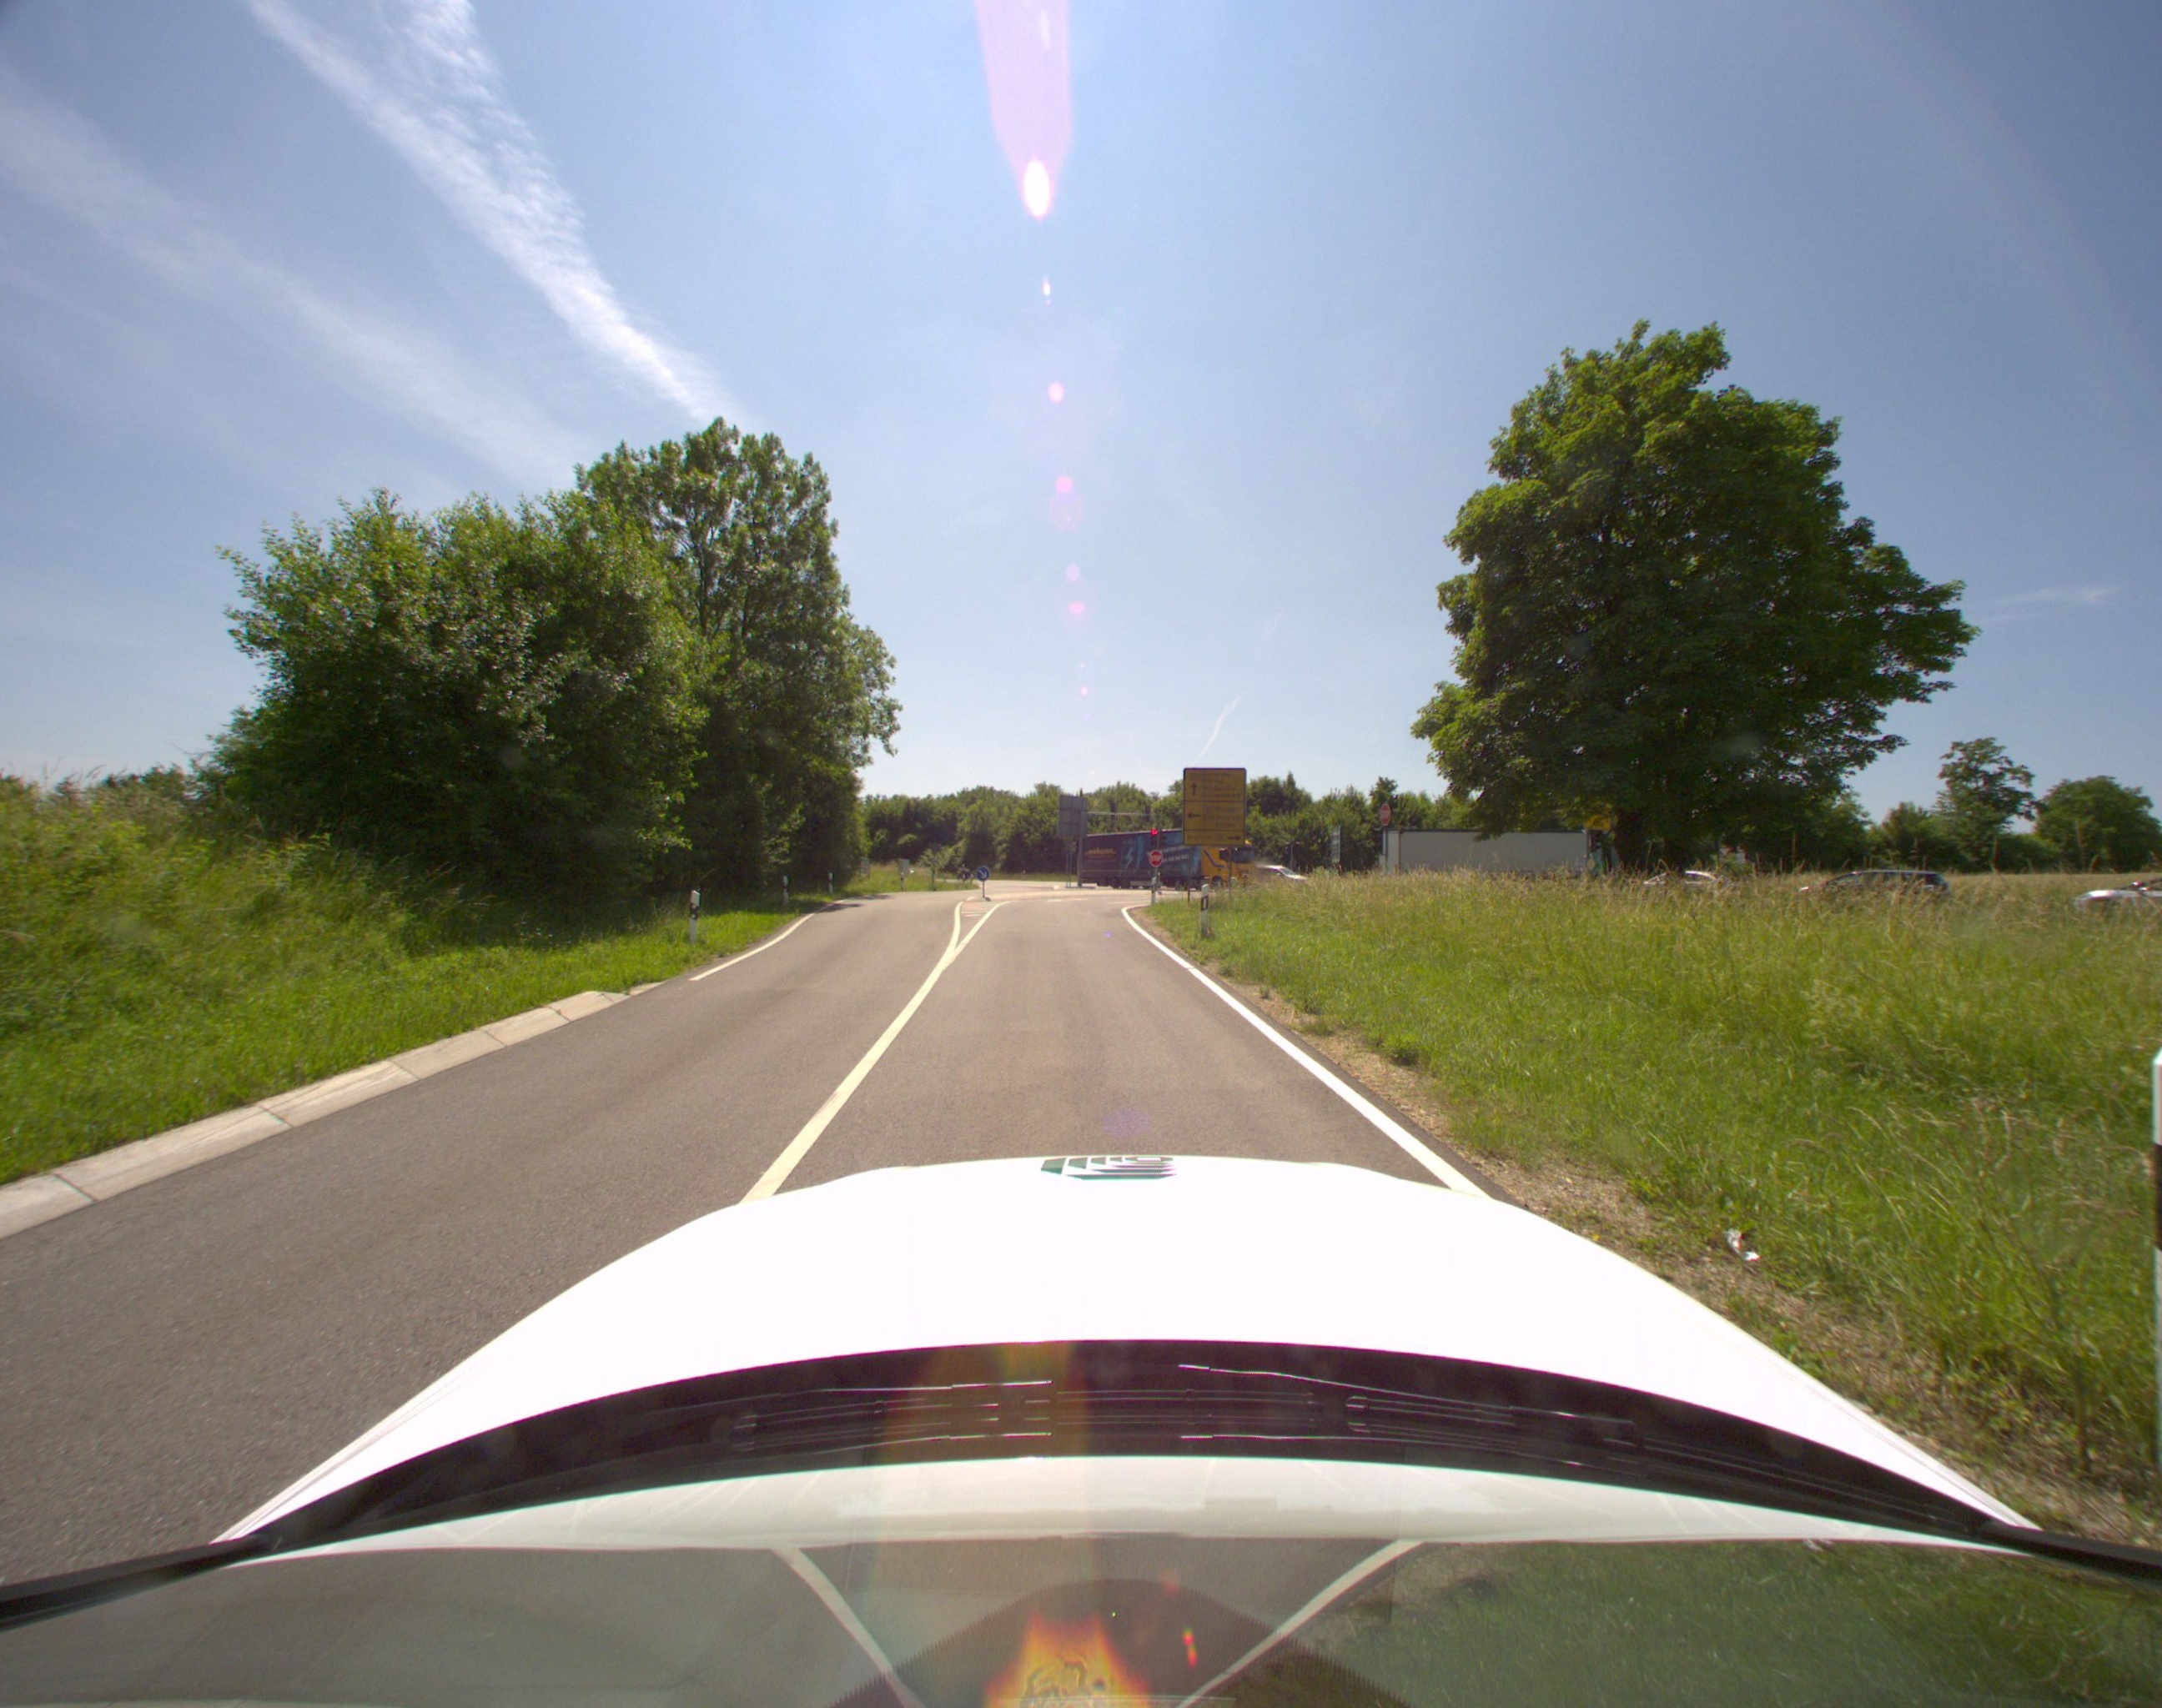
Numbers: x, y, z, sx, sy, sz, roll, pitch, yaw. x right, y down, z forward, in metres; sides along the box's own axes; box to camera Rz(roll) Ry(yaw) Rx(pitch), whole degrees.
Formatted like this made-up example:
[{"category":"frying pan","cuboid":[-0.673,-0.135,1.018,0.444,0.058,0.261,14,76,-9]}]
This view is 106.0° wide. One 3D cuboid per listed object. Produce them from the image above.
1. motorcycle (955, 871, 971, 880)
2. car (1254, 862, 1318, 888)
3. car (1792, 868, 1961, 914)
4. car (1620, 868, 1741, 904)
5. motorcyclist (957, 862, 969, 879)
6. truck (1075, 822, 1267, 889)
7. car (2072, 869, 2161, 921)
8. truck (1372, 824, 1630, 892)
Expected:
[{"category":"motorcycle","cuboid":[-13.318,2.381,91.913,1.849,0.963,0.735,-3,-2,44]},{"category":"car","cuboid":[13.466,1.387,53.628,3.642,1.575,1.736,-2,-1,41]},{"category":"car","cuboid":[30.544,1.359,31.414,1.733,1.553,4.344,-1,0,-27]},{"category":"car","cuboid":[27.425,1.435,37.380,1.735,1.470,4.130,-1,0,-30]},{"category":"motorcyclist","cuboid":[-13.331,1.830,91.938,0.887,1.843,0.844,-3,-2,43]},{"category":"truck","cuboid":[5.675,0.179,57.527,2.865,4.131,16.623,1,-1,-37]},{"category":"car","cuboid":[34.436,1.285,25.567,1.659,1.553,3.985,-1,0,-27]},{"category":"truck","cuboid":[27.568,0.212,53.529,16.634,4.173,3.124,0,-1,-11]}]
